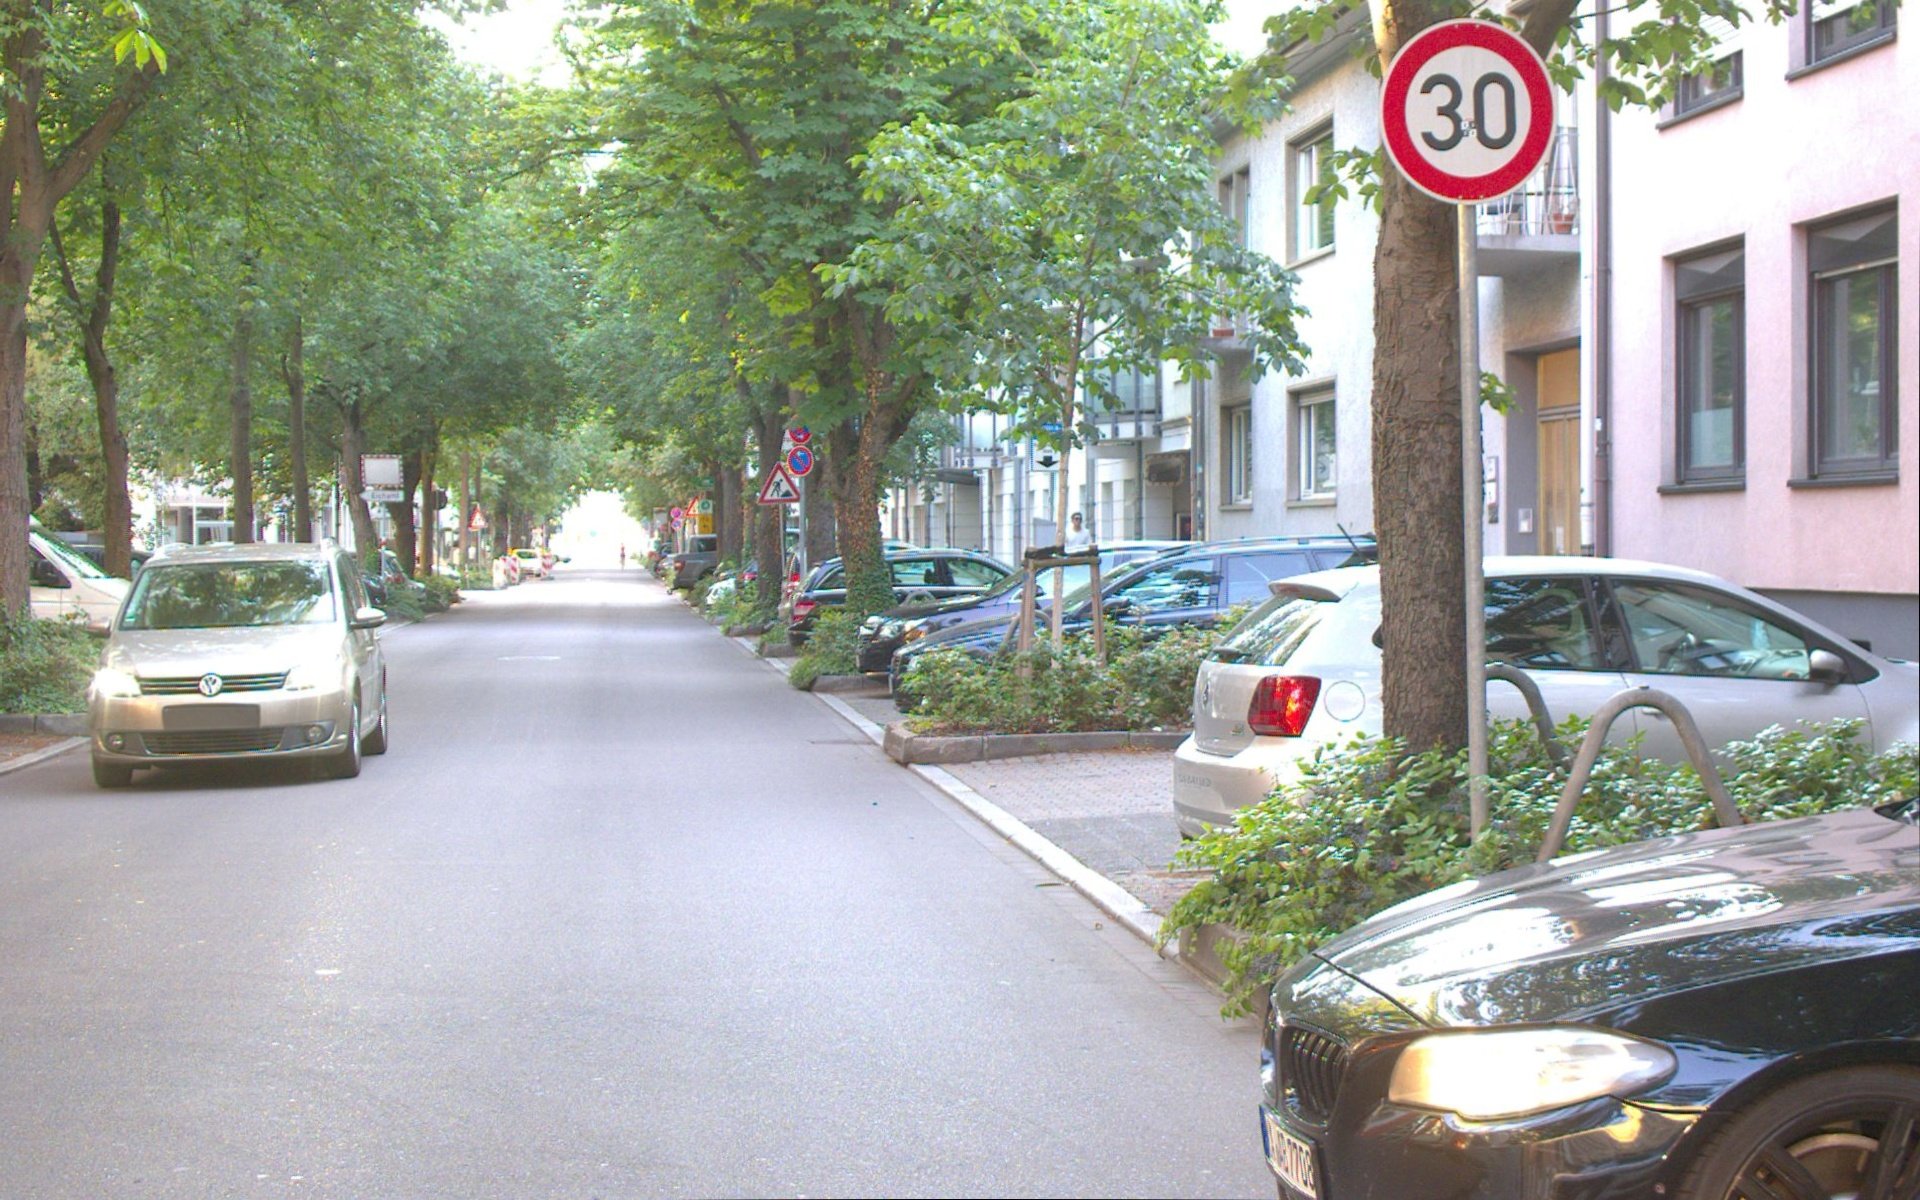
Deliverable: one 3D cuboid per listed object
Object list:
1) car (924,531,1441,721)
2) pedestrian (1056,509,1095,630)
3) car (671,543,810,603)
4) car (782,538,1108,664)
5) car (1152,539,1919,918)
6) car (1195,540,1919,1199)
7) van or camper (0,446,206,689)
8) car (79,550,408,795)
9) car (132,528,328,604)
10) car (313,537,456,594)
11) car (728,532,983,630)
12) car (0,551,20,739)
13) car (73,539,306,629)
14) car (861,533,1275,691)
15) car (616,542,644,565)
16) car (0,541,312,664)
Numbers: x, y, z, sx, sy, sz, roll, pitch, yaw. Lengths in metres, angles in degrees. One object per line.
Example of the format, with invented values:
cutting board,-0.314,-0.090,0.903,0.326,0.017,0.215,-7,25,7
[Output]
car,1.785,0.188,28.277,3.967,1.471,1.785,-1,1,-7
pedestrian,1.922,-0.506,57.292,0.589,2.007,0.669,0,1,-4
car,-6.361,-0.784,99.556,3.967,1.678,1.785,0,1,-4
car,-0.226,-0.007,43.611,3.967,1.522,1.785,-1,1,-6
car,2.901,0.488,14.660,3.908,1.471,1.665,-1,1,-7
car,2.943,0.619,6.570,4.744,1.475,1.800,0,1,-5
van or camper,-10.375,-0.343,35.894,4.662,2.470,2.000,0,1,-6
car,-4.973,0.438,24.343,1.779,1.557,4.169,0,1,-5
car,-15.913,-0.748,75.069,3.967,1.614,1.785,0,1,-4
car,-16.873,-1.026,100.962,3.967,1.614,1.785,0,1,-4
car,-1.712,-0.326,55.506,3.967,1.522,1.785,-1,1,-7
car,-9.736,0.381,27.575,3.967,1.512,1.785,-1,1,-4
car,-14.177,-0.313,63.436,3.967,1.614,1.785,0,1,-4
car,1.054,0.095,34.774,3.967,1.522,1.785,-1,1,-6
car,-21.917,-3.096,228.278,1.822,1.525,4.001,0,1,-5
car,-10.959,0.013,46.905,3.967,1.614,1.785,-1,1,-4
